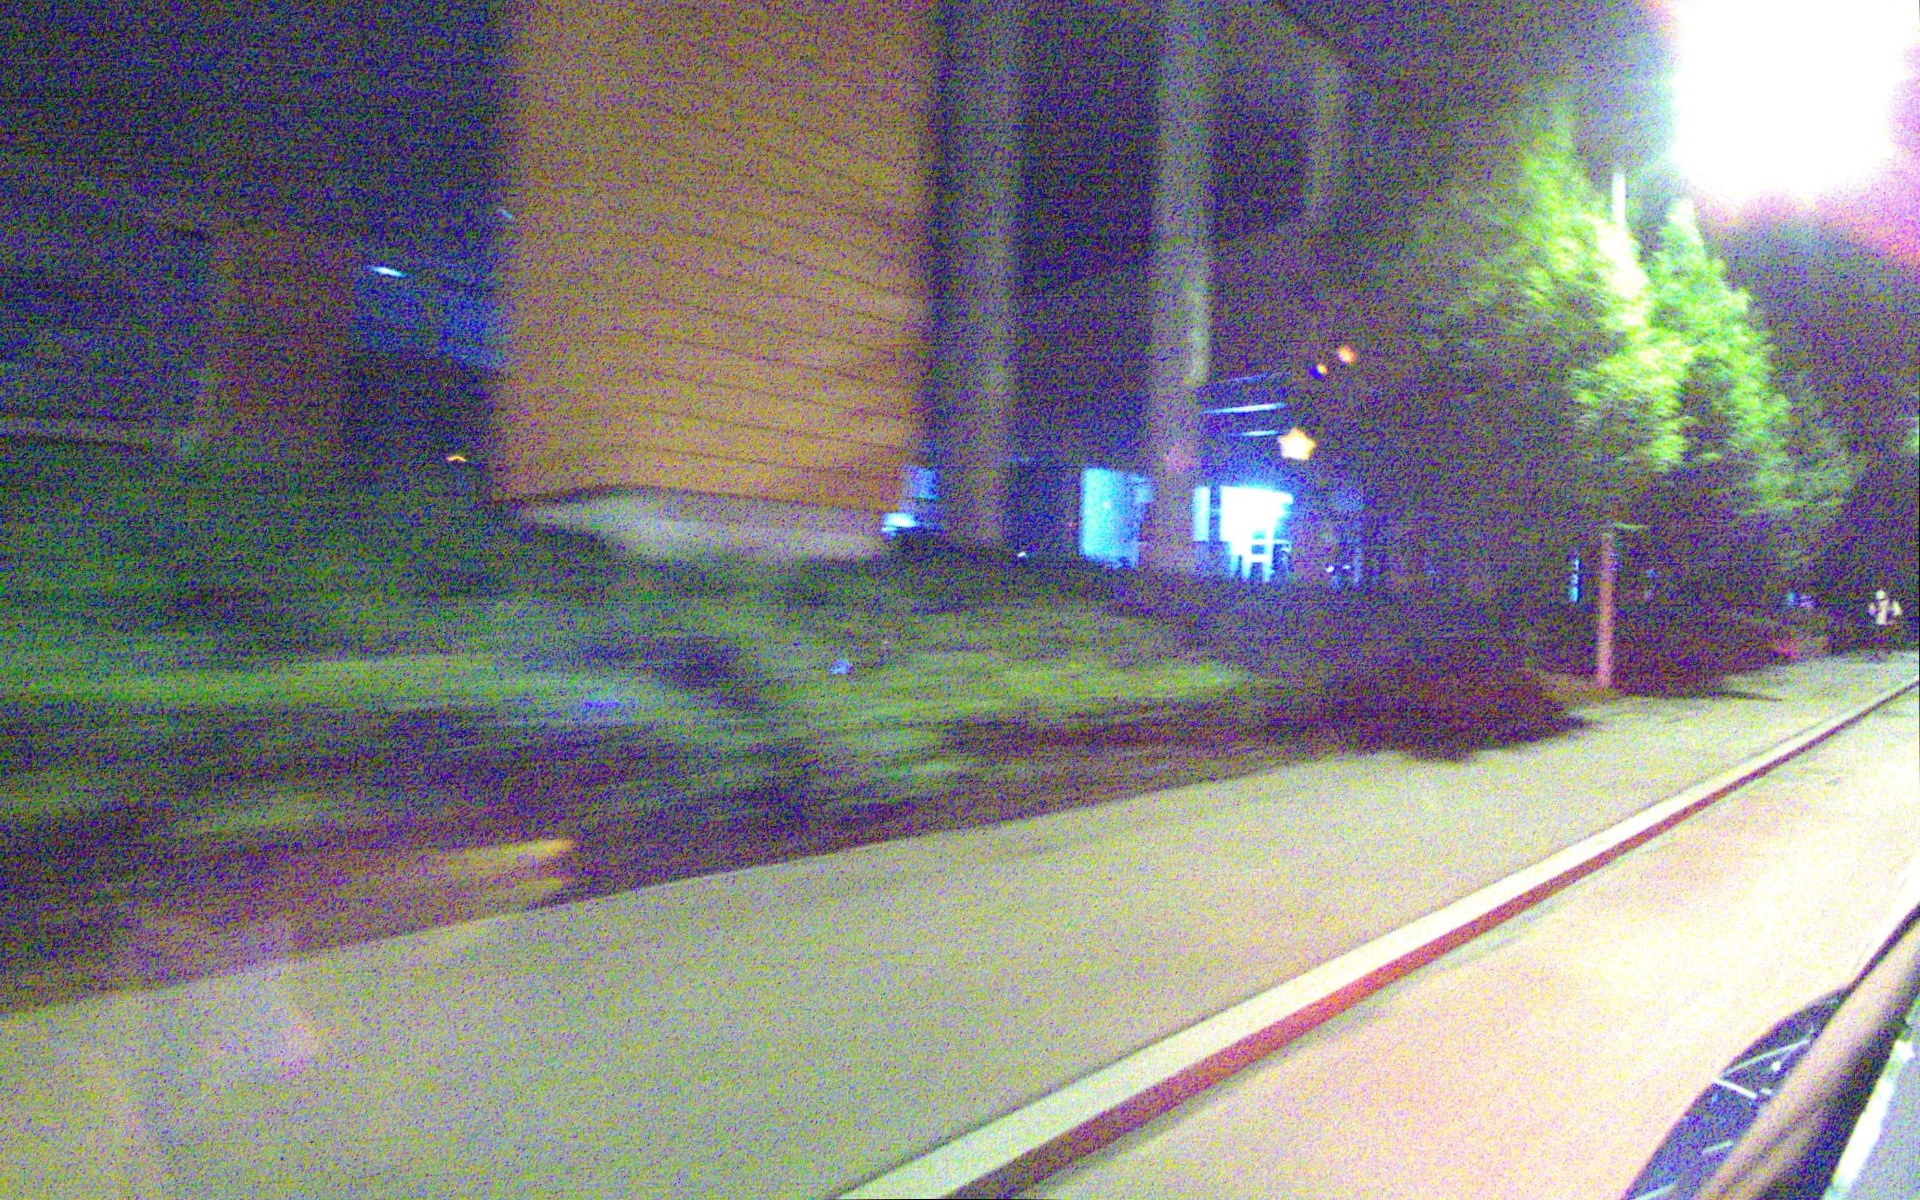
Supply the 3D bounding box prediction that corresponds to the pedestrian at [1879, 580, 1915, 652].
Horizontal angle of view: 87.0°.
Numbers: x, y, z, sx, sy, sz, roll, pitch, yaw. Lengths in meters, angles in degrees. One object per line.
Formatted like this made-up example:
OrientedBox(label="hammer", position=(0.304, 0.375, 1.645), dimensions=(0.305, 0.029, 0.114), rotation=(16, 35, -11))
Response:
OrientedBox(label="pedestrian", position=(25.198, 0.422, 27.206), dimensions=(0.805, 1.875, 0.571), rotation=(1, 2, -41))
